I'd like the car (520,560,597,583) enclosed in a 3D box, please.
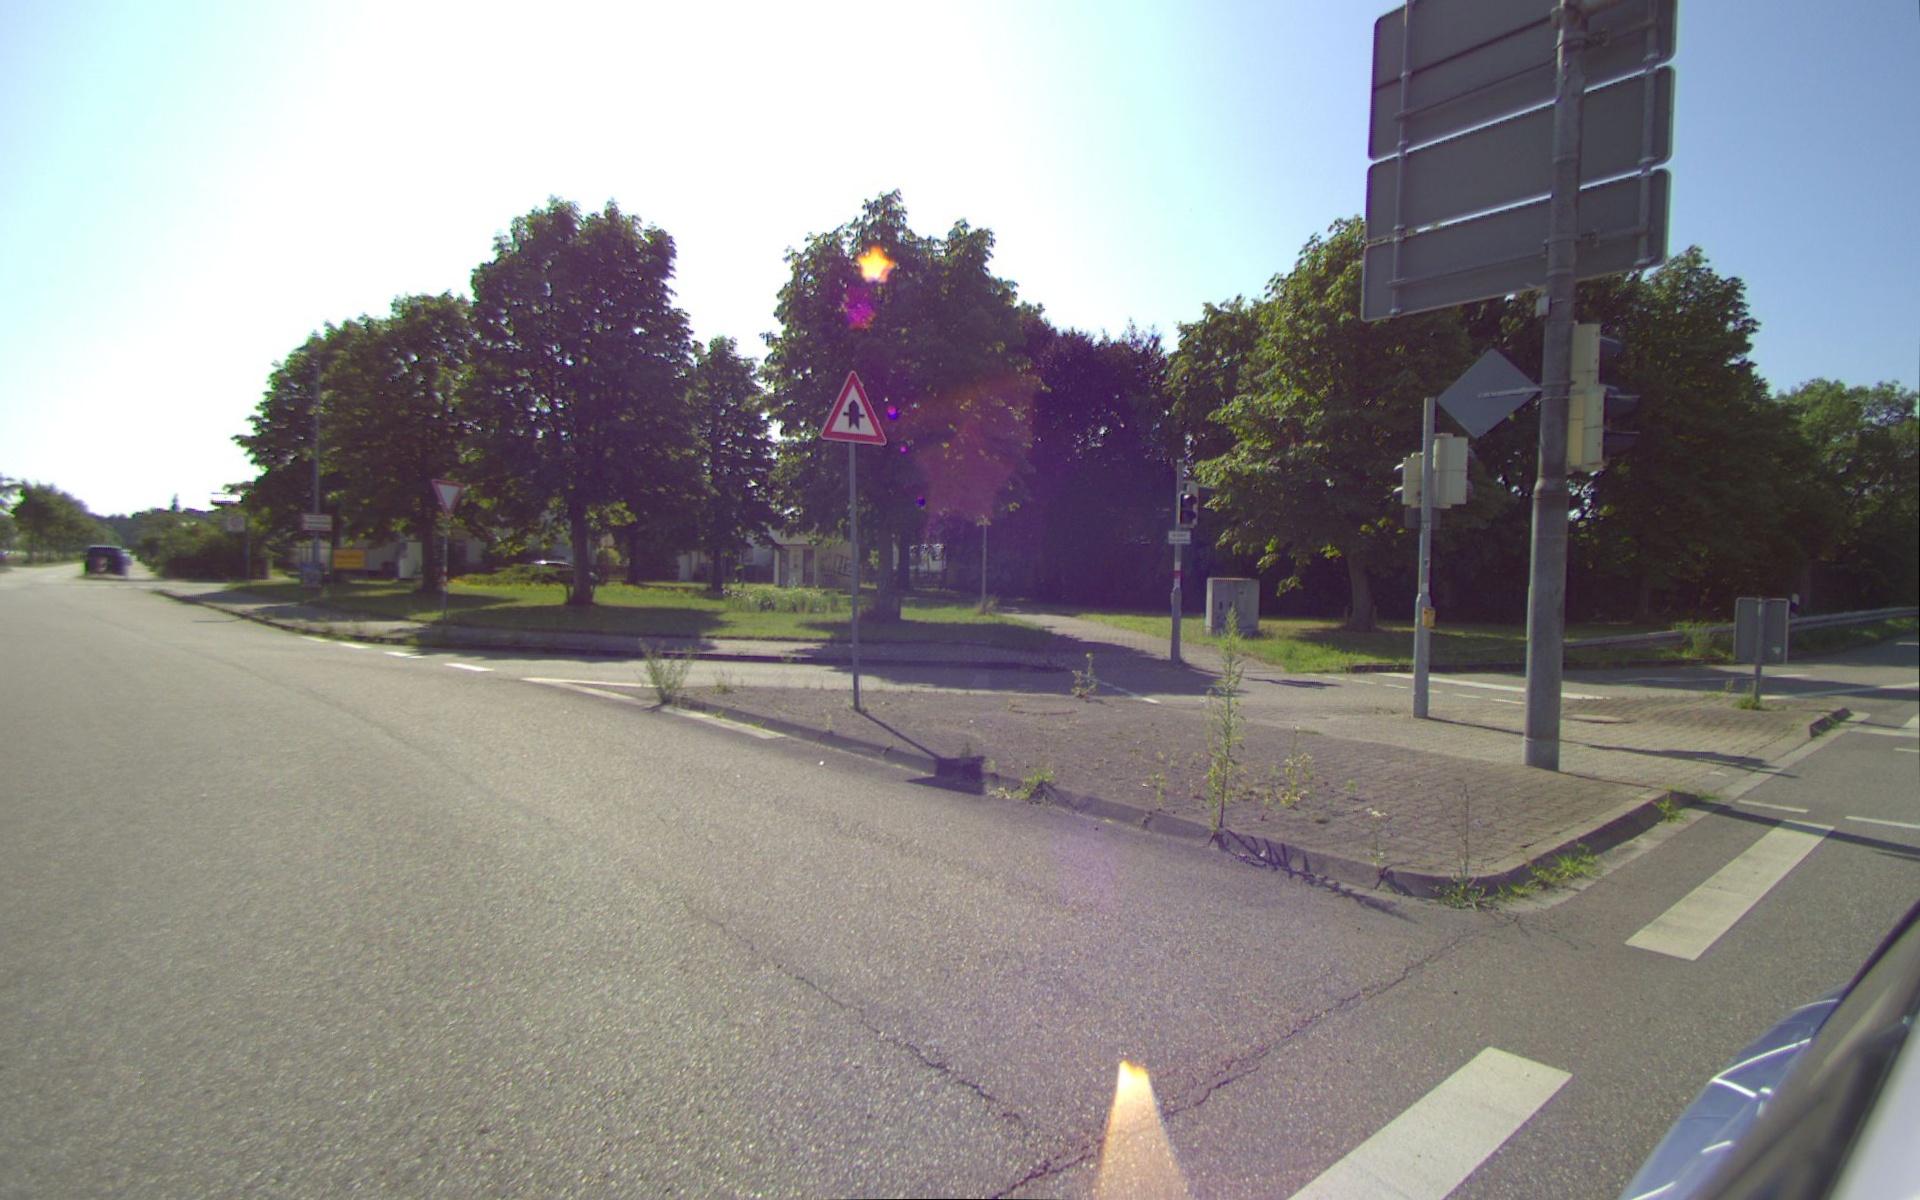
[{"bbox_3d":[-23.717,-1.680,59.837,3.929,1.304,1.731,-1,2,-40],"label":"car"}]

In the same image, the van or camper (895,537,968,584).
[{"bbox_3d":[-1.852,-2.536,64.739,1.966,2.866,4.806,-1,3,-43],"label":"van or camper"}]

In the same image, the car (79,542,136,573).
[{"bbox_3d":[-52.189,-2.622,62.048,1.960,1.812,4.006,0,2,-29],"label":"car"}]

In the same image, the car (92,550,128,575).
[{"bbox_3d":[-69.277,-3.021,82.503,1.963,1.950,3.998,-1,1,-37],"label":"car"}]
